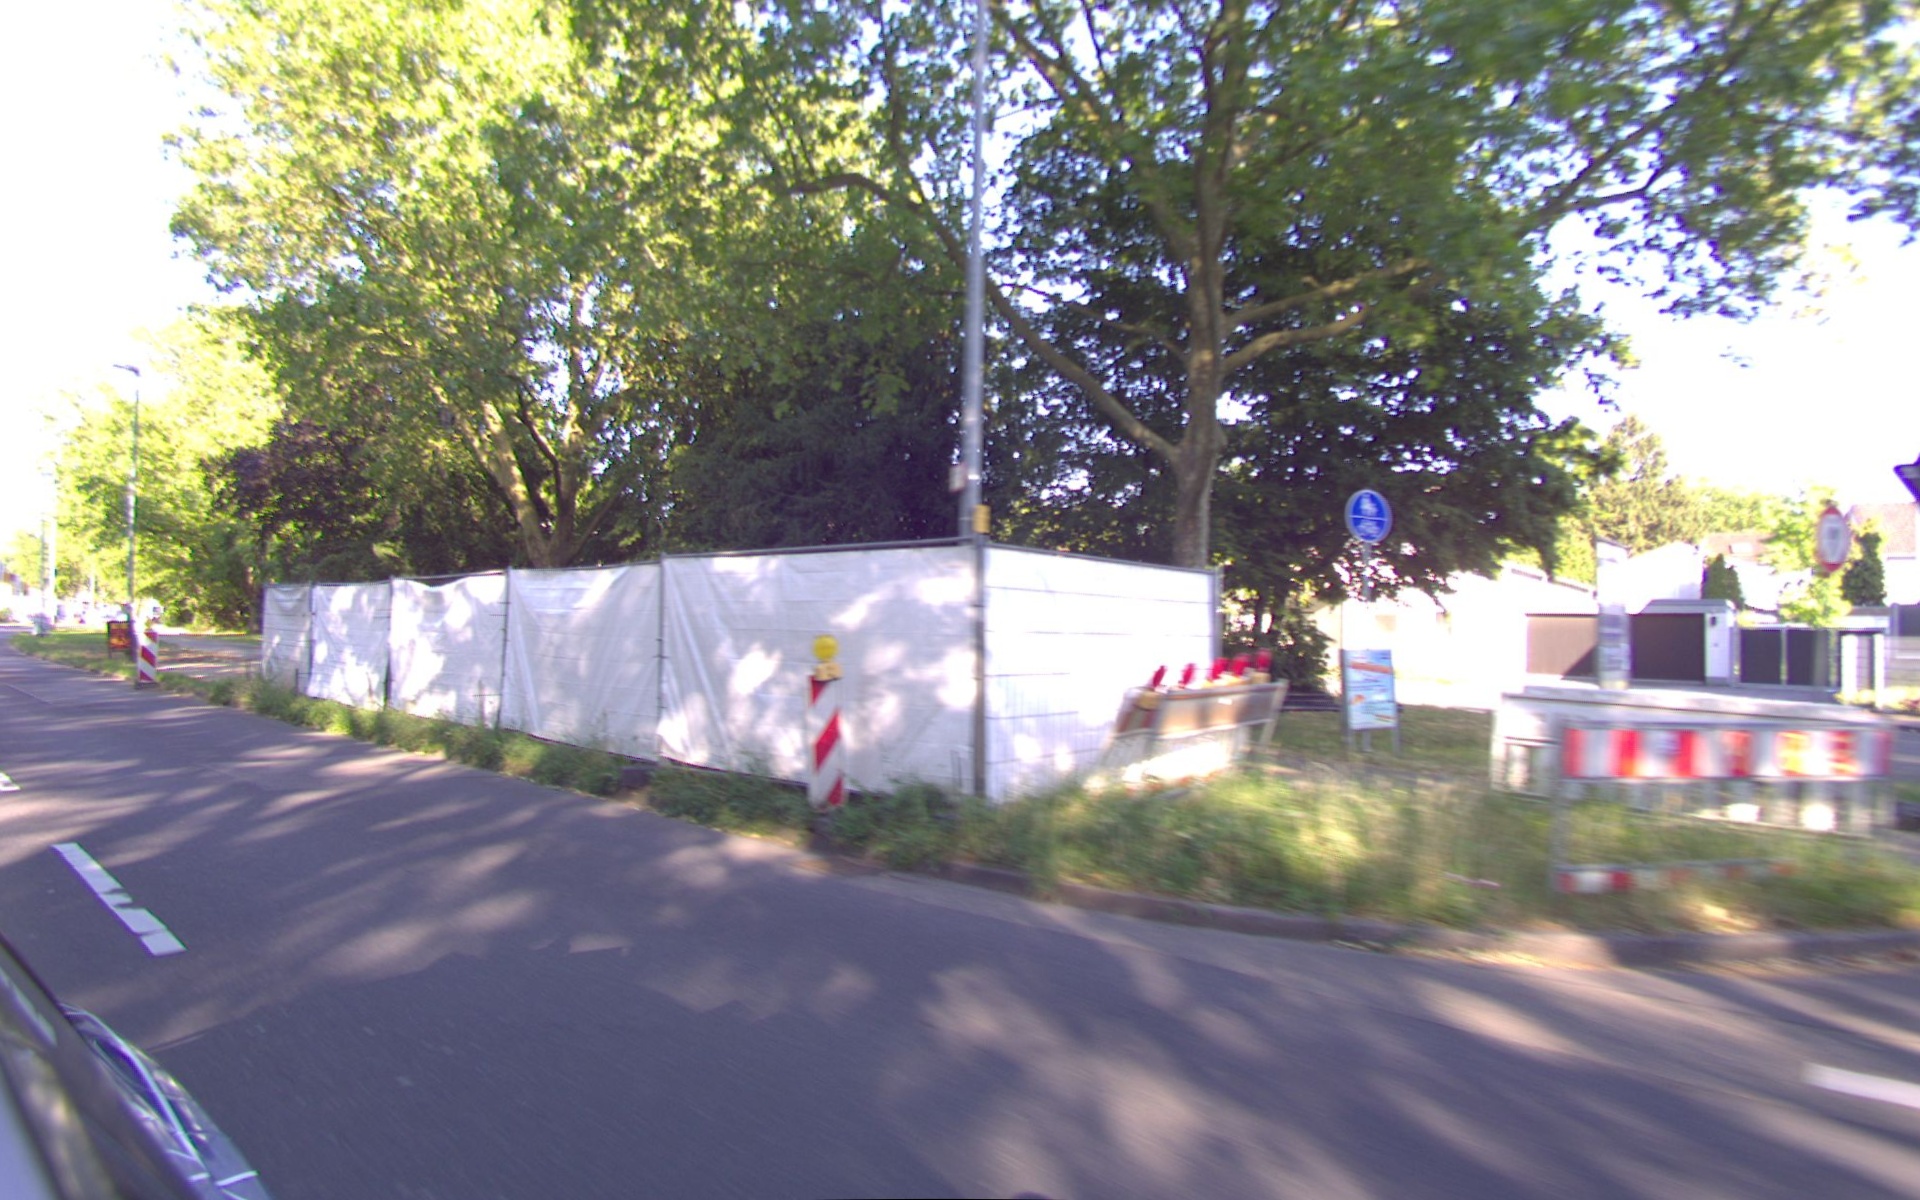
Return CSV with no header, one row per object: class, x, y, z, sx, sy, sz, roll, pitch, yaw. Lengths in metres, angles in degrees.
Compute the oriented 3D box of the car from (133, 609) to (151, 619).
car,-128.289,2.211,158.780,1.737,1.495,4.119,0,-1,-33
